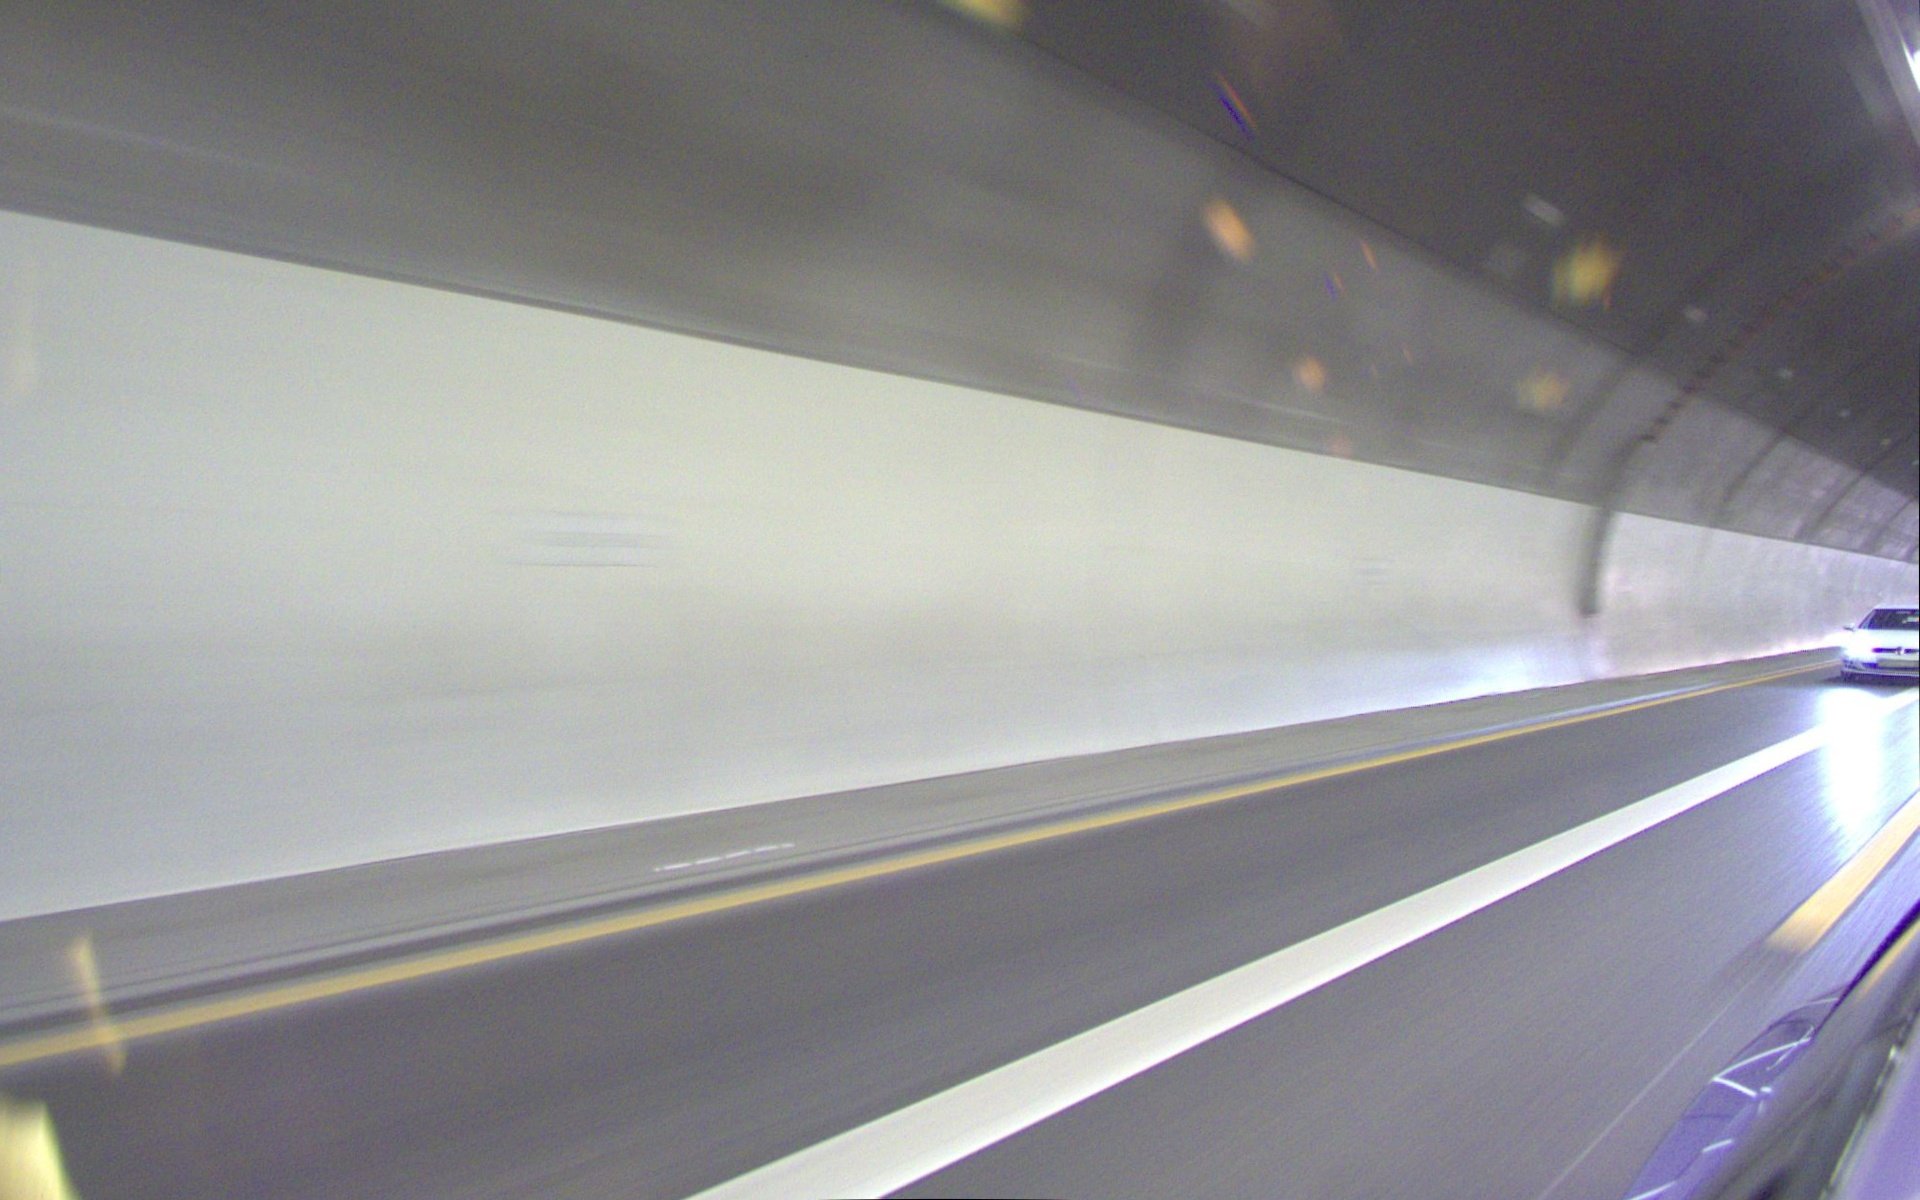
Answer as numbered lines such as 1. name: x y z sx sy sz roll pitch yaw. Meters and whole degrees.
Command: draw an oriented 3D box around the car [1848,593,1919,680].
1. car: 17.970 0.628 18.675 3.963 1.479 1.801 0 1 -40
